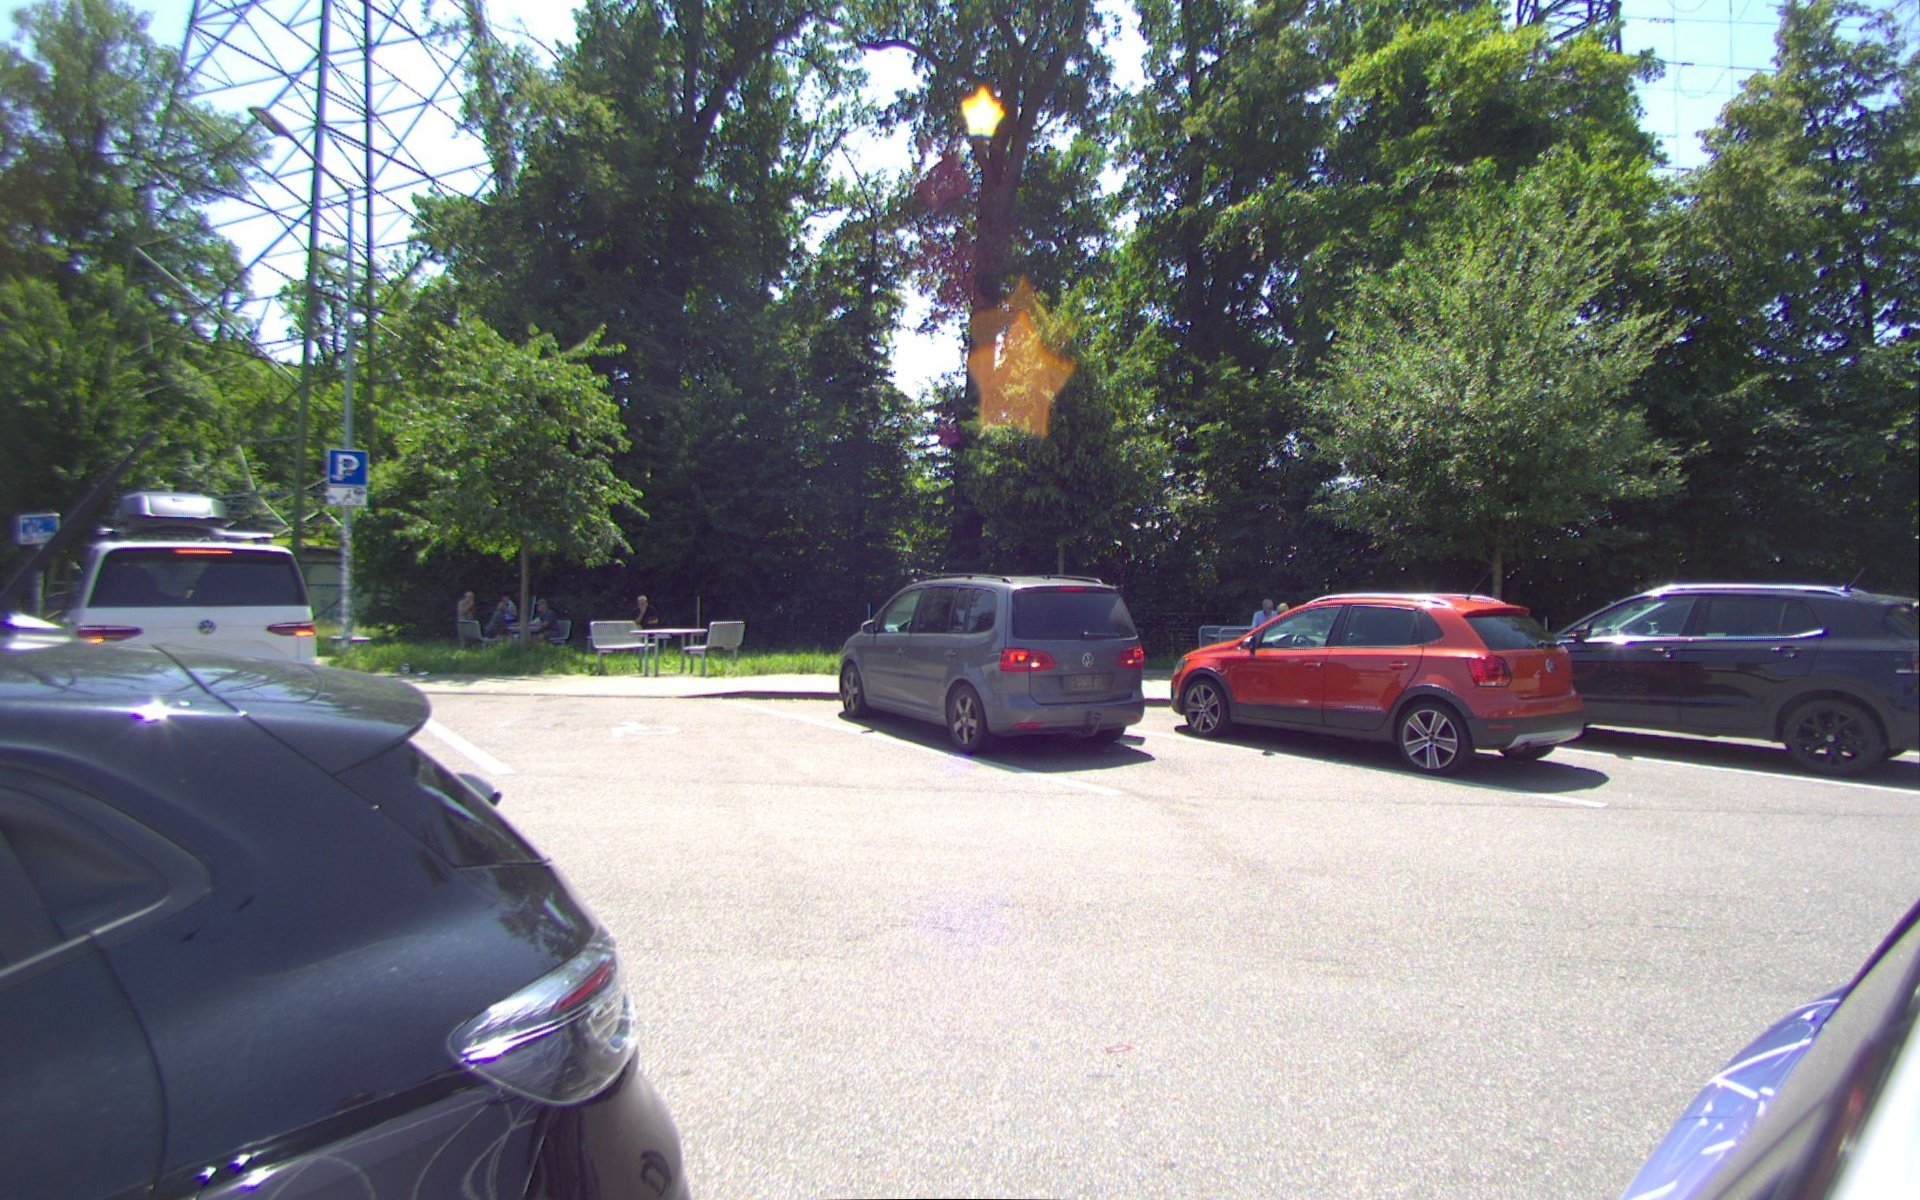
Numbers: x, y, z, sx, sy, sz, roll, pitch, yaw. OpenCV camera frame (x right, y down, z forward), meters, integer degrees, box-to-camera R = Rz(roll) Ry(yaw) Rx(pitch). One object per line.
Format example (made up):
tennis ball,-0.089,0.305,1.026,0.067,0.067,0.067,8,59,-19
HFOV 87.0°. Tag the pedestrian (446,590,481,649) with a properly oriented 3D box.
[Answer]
pedestrian,-12.208,0.470,24.874,0.657,1.422,0.649,0,0,-39

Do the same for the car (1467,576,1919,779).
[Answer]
car,7.176,0.575,9.710,1.690,1.593,3.787,0,1,-39

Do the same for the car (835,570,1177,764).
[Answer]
car,0.249,0.519,10.520,1.713,1.601,3.996,0,1,-29

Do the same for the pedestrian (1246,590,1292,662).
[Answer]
pedestrian,5.781,0.478,18.964,0.657,1.311,0.783,0,0,3

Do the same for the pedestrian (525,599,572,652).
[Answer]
pedestrian,-9.606,0.582,23.627,0.873,1.192,0.668,0,0,-41

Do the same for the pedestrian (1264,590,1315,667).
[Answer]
pedestrian,5.777,0.489,17.776,0.657,1.311,0.783,0,0,3

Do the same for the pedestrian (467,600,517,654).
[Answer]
pedestrian,-10.522,0.595,22.773,0.873,1.192,0.668,0,0,-41

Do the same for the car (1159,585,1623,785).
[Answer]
car,3.849,0.611,9.651,1.687,1.484,3.793,0,1,-32

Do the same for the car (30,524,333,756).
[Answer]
car,-8.361,0.289,10.694,4.549,1.936,1.882,1,1,44

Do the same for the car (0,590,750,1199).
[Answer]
car,-2.207,0.721,0.601,1.737,1.501,3.757,0,-1,44

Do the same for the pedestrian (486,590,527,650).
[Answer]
pedestrian,-11.011,0.466,24.560,0.664,1.422,0.643,0,0,32

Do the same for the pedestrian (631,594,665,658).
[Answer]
pedestrian,-6.553,0.526,21.282,0.655,1.311,0.786,0,0,-16
